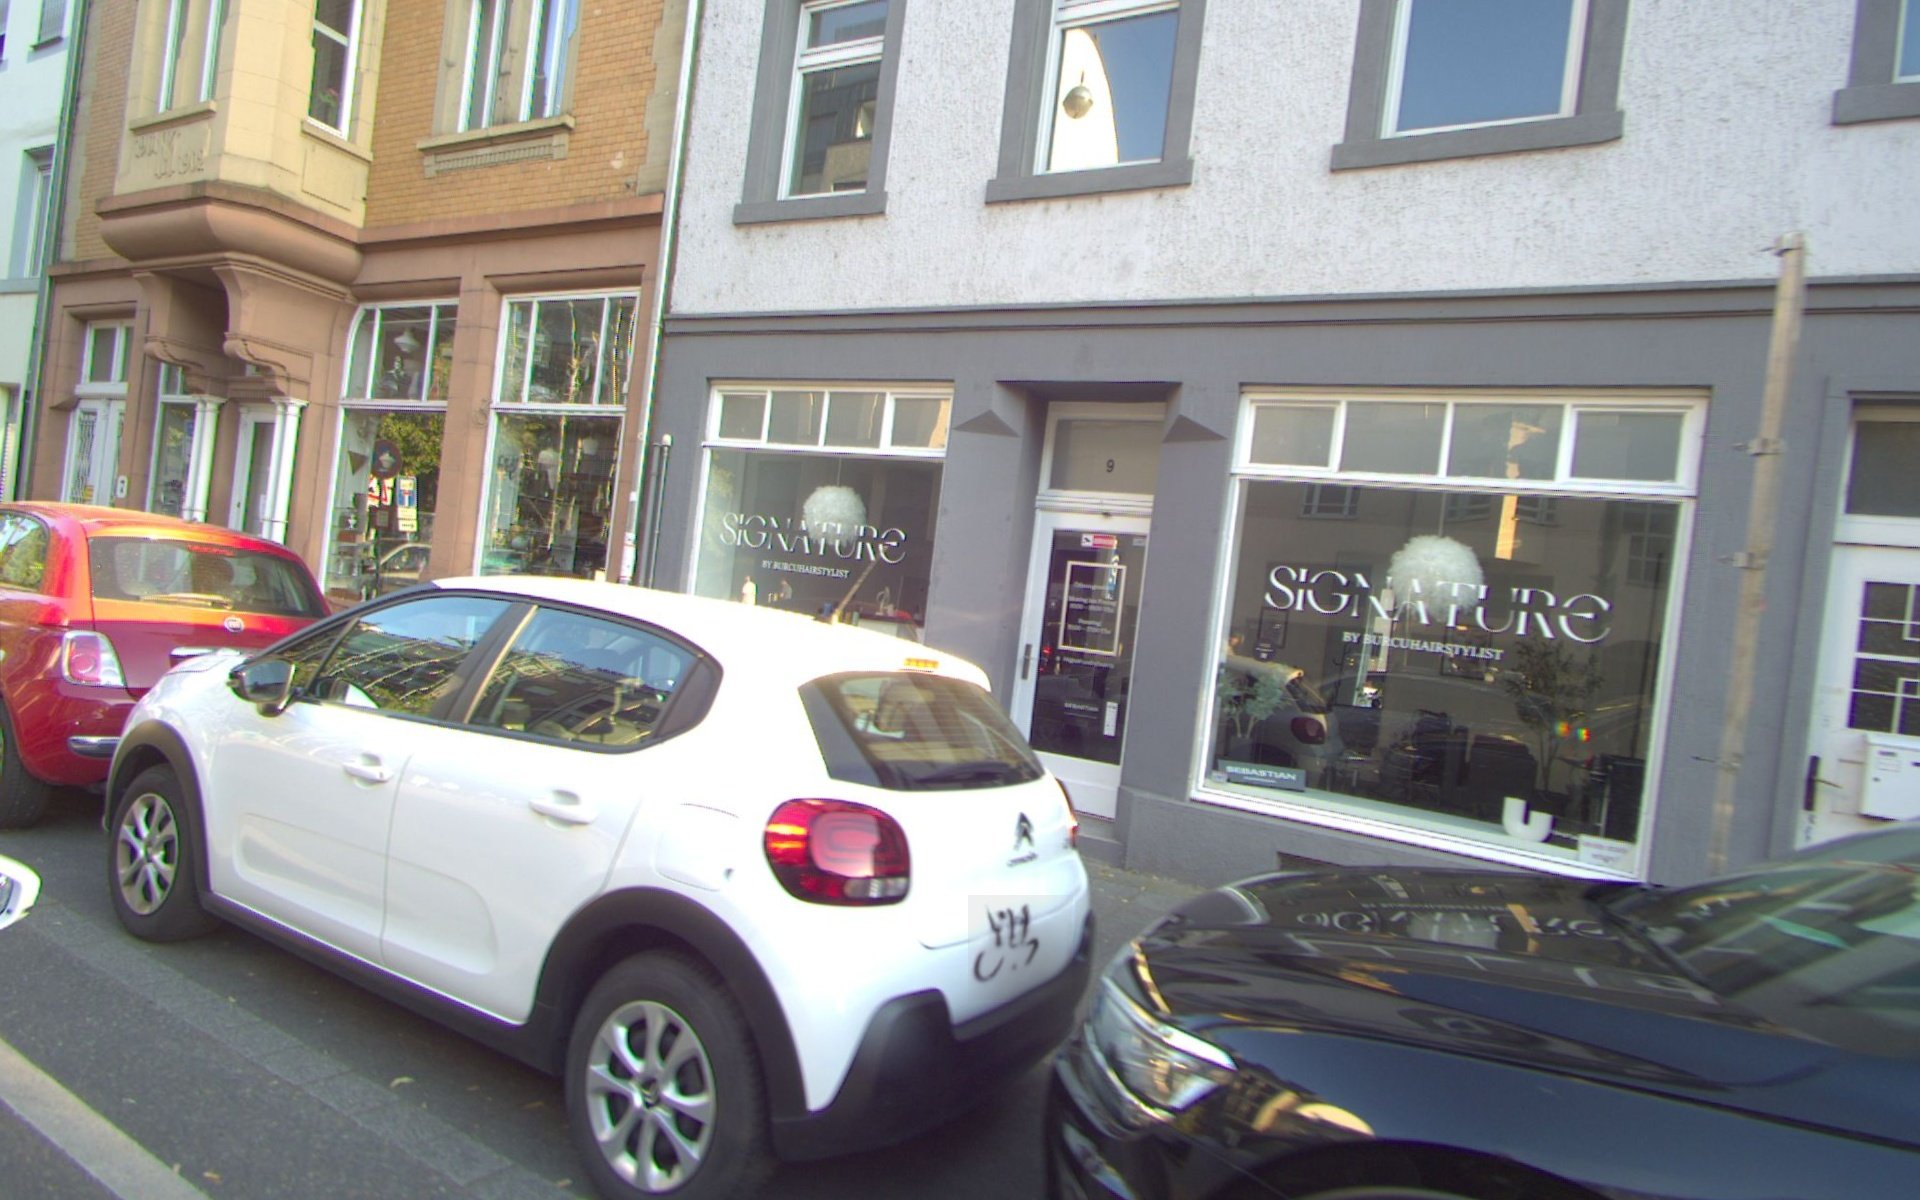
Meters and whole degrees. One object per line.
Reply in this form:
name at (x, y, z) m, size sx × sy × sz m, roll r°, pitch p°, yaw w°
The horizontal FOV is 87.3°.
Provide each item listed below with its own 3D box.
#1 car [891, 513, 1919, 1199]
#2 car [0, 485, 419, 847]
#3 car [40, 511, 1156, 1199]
car at (2.144, 0.972, 1.530) m, size 4.133 × 1.687 × 1.816 m, roll 6°, pitch -2°, yaw 29°
car at (-4.863, 0.212, 5.699) m, size 3.211 × 1.501 × 1.591 m, roll 6°, pitch -2°, yaw 30°
car at (-1.414, 0.611, 3.681) m, size 3.737 × 1.394 × 1.671 m, roll 6°, pitch -2°, yaw 29°
